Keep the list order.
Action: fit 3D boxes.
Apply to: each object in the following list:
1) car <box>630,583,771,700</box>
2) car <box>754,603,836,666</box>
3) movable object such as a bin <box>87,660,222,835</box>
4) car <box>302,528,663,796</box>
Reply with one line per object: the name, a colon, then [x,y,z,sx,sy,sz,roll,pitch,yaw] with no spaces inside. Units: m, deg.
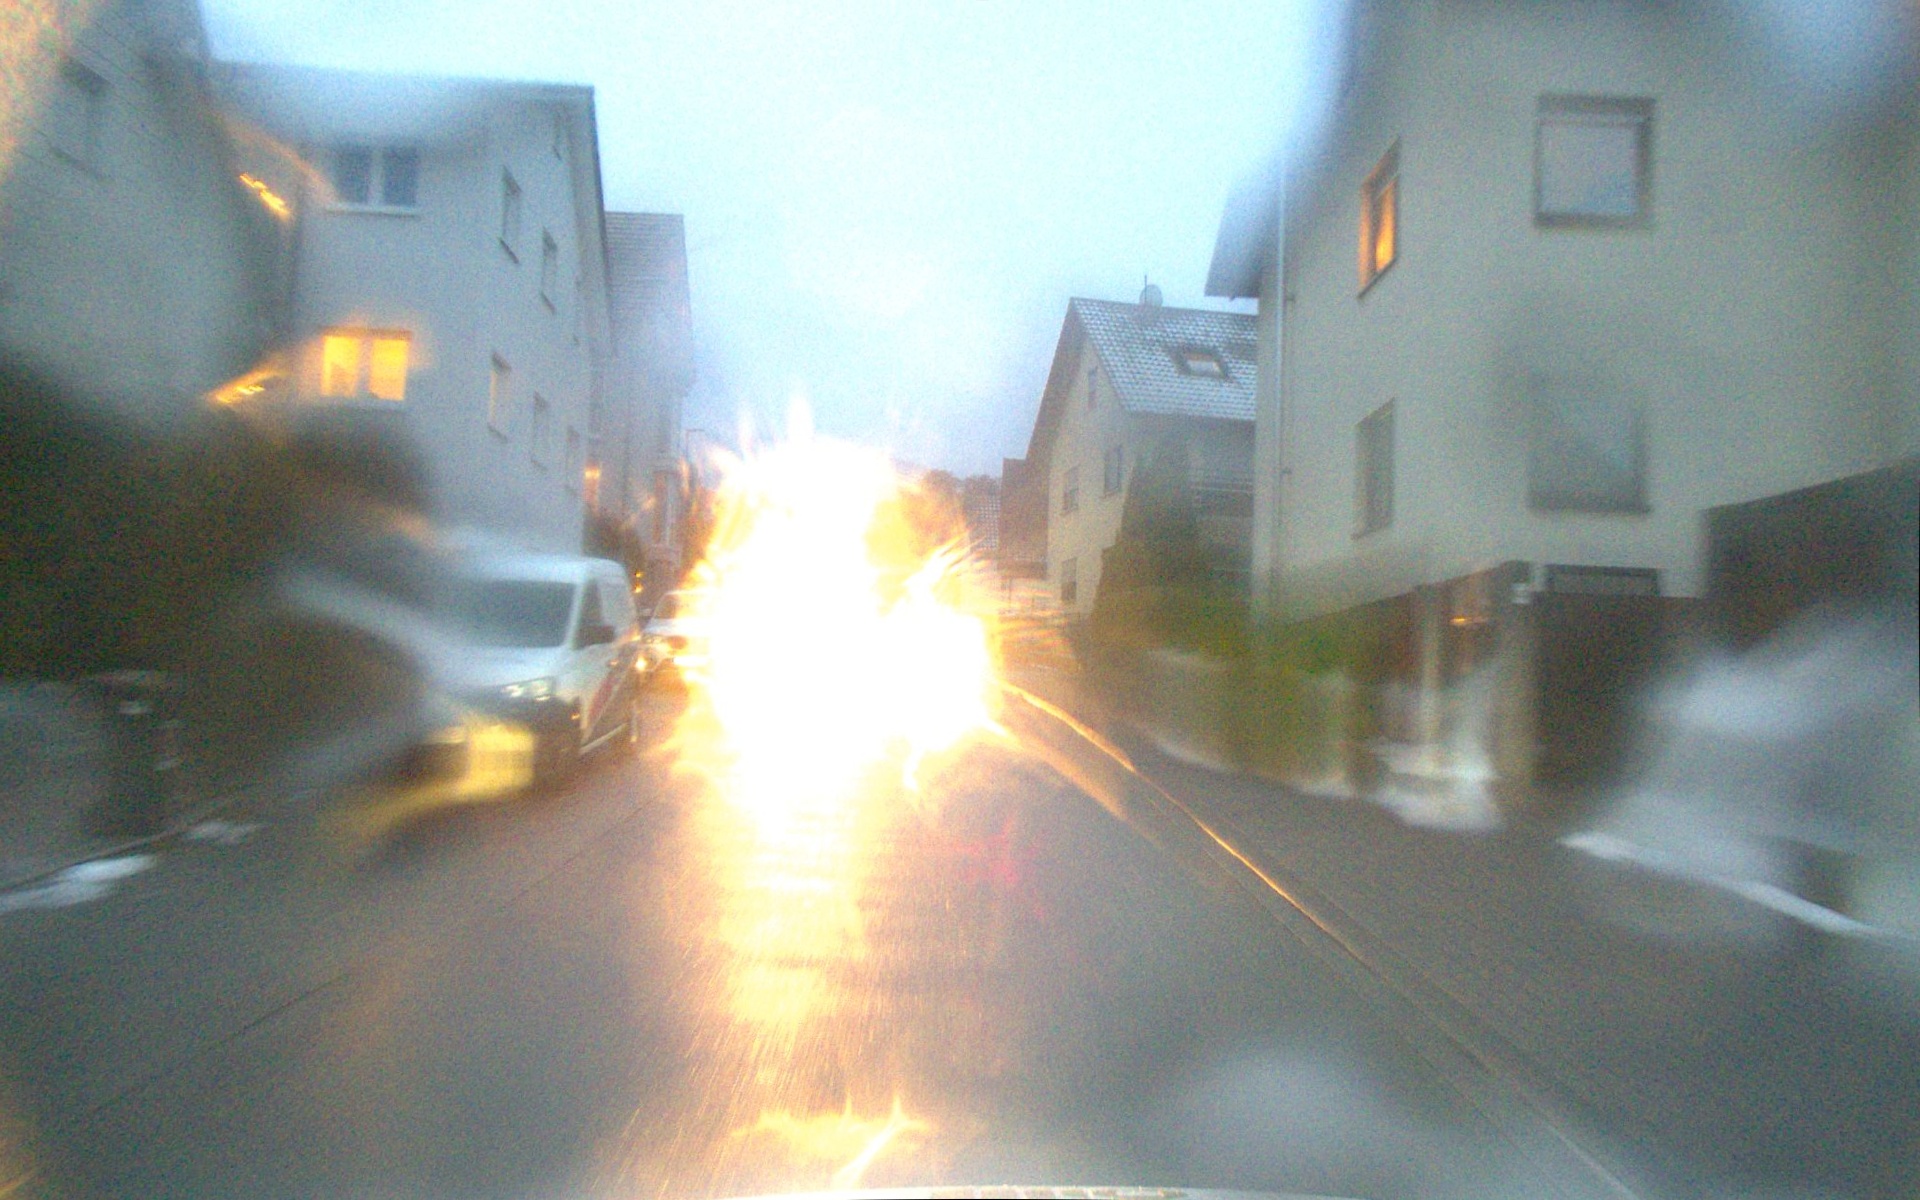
car: [-4.293,0.660,27.919,1.954,1.832,3.997,0,0,-3]
car: [-4.564,0.997,46.255,1.953,1.679,3.998,0,-2,-1]
movable object such as a bin: [-4.773,0.864,9.828,0.473,0.932,0.600,4,1,-4]
car: [-3.734,0.444,13.770,1.788,1.867,4.344,0,0,-1]
